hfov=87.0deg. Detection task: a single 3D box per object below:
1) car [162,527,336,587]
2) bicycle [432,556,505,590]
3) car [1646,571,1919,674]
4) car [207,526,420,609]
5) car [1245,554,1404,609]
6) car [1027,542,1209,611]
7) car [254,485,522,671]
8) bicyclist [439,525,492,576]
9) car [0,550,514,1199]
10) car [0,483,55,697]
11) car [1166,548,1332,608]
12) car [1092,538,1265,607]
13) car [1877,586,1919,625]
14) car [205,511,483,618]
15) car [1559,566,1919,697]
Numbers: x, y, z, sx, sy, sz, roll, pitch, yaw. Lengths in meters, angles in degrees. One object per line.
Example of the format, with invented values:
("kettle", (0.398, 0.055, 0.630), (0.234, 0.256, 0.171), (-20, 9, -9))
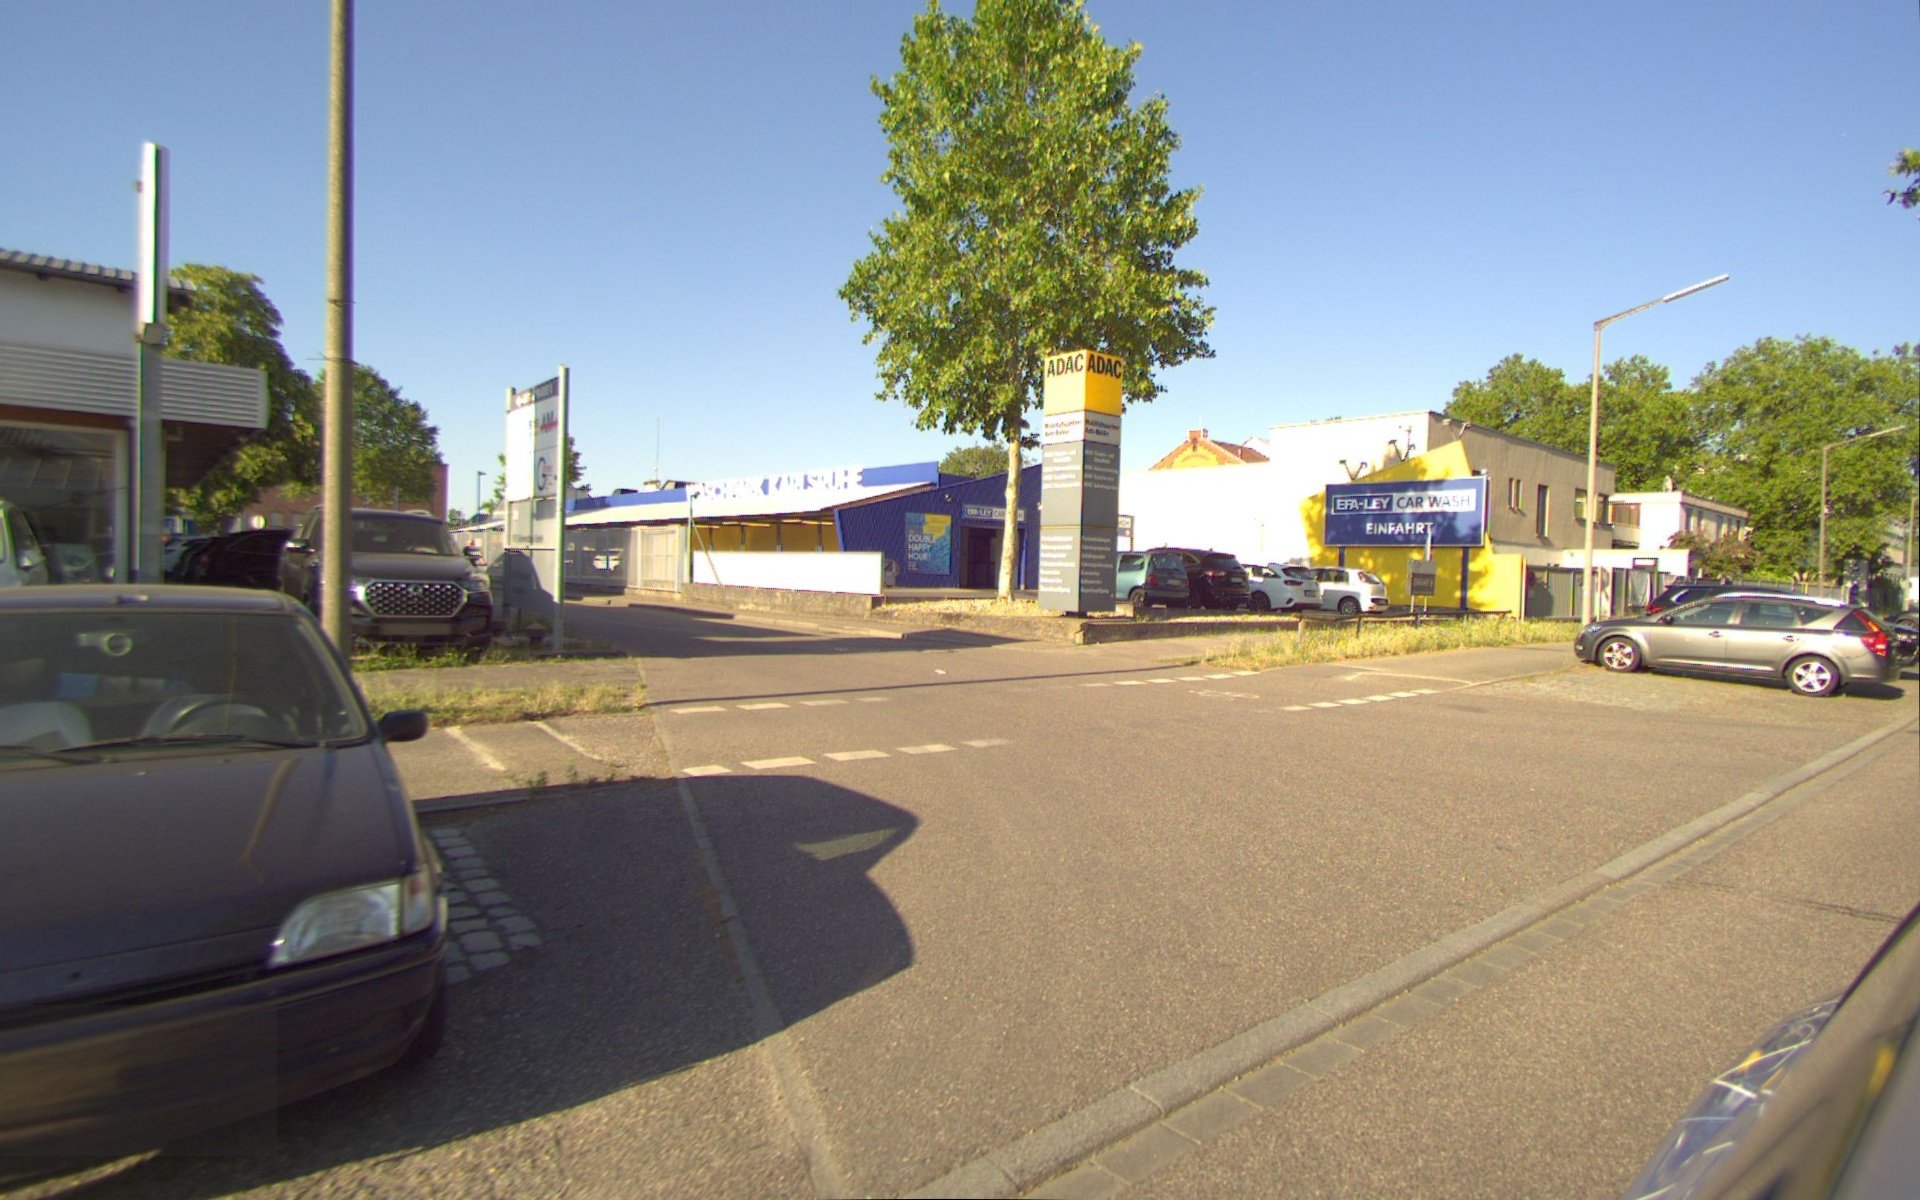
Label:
("car", (-21.661, -1.283, 31.006), (3.916, 1.760, 2.004), (0, 1, -14))
("bicycle", (-14.190, -0.769, 29.163), (1.187, 0.933, 3.305), (0, 1, -39))
("car", (17.240, 0.363, 20.908), (1.963, 1.598, 4.616), (0, 5, -38))
("car", (-13.515, -0.679, 21.271), (3.518, 1.653, 1.734), (0, 1, 8))
("car", (10.762, -0.537, 30.048), (1.967, 1.516, 3.990), (0, 1, -44))
("car", (3.761, -0.560, 24.492), (1.967, 1.538, 3.990), (0, 1, -44))
("car", (-7.394, -0.273, 12.847), (2.163, 1.922, 4.504), (-1, 1, -40))
("bicyclist", (-14.340, -1.419, 29.344), (1.151, 1.425, 1.158), (0, 1, -40))
("car", (-2.958, 0.544, 3.440), (1.751, 1.312, 4.000), (0, 4, -37))
("car", (-10.534, -0.186, 10.010), (2.163, 1.922, 3.941), (4, -1, -40))
("car", (7.878, -0.593, 27.826), (1.921, 1.538, 3.990), (0, 1, -44))
("car", (5.575, -0.688, 26.115), (1.967, 1.615, 3.990), (0, 1, -44))
("car", (42.719, 0.373, 43.517), (1.966, 1.544, 4.635), (0, 5, -41))
("car", (-10.918, -0.614, 18.092), (3.934, 1.760, 1.995), (0, 1, 9))
("car", (13.201, 0.400, 17.333), (1.965, 1.632, 4.613), (-1, 6, -40))
